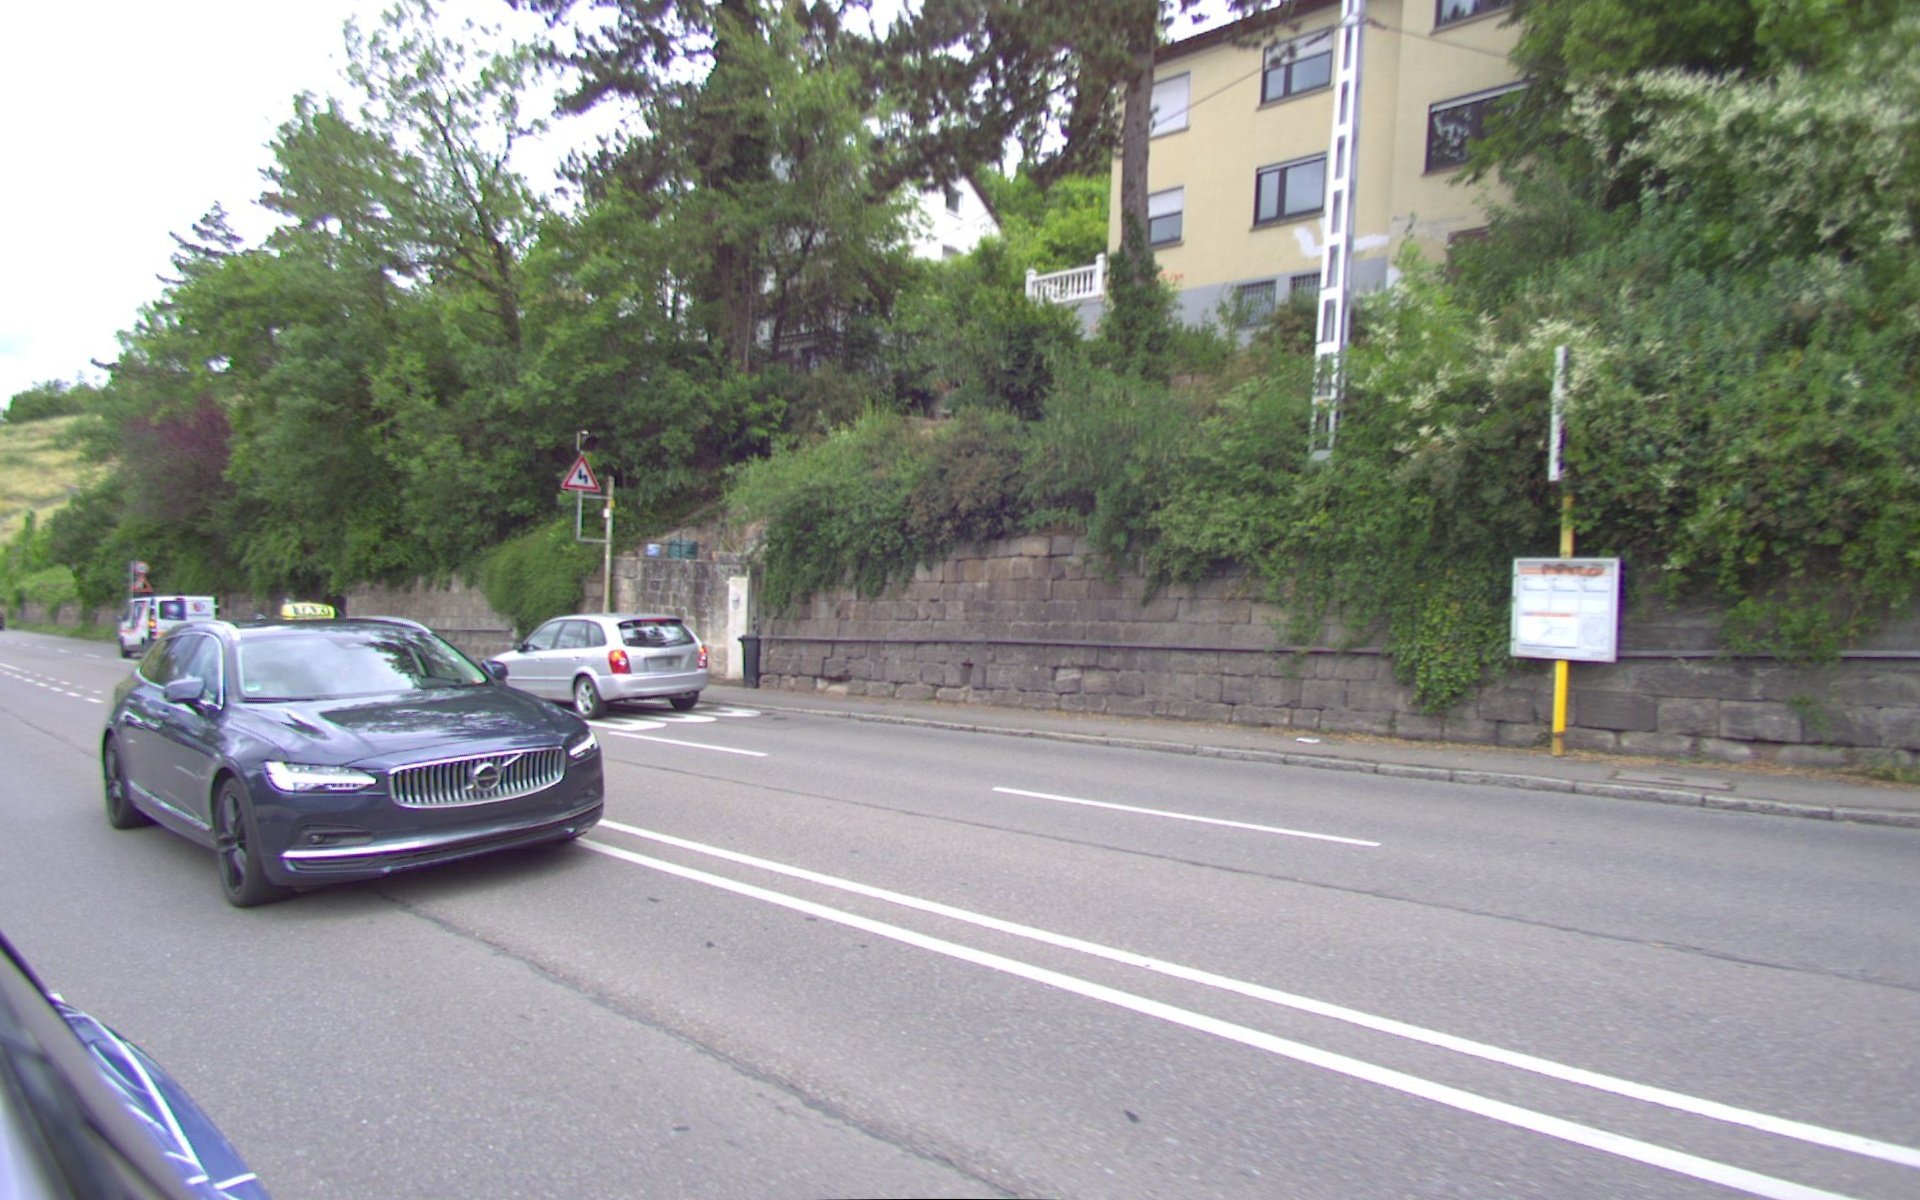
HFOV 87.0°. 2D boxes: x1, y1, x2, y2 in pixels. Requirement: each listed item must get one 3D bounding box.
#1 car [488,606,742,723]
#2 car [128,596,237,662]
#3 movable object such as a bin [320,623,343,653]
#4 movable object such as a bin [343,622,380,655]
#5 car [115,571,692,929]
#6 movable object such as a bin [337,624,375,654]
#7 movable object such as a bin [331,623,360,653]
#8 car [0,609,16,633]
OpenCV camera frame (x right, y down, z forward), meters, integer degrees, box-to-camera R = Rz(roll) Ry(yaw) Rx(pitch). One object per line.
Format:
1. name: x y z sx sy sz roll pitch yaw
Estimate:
1. car: -5.229 0.865 15.055 4.231 1.453 1.659 -1 1 41
2. car: -25.627 0.904 33.281 5.354 2.020 1.901 -1 -1 42
3. movable object such as a bin: -20.808 1.261 33.515 0.473 0.973 0.512 -1 -1 38
4. movable object such as a bin: -19.154 1.223 32.392 0.620 1.042 0.890 -1 -1 38
5. car: -4.082 0.675 6.922 5.026 1.588 1.914 -1 1 42
6. movable object such as a bin: -19.602 1.249 32.830 0.593 0.953 0.907 -1 -1 38
7. movable object such as a bin: -20.133 1.238 33.144 0.543 0.973 0.667 -1 -1 38
8. car: -70.992 1.520 74.741 1.794 1.710 4.474 -1 0 -43
